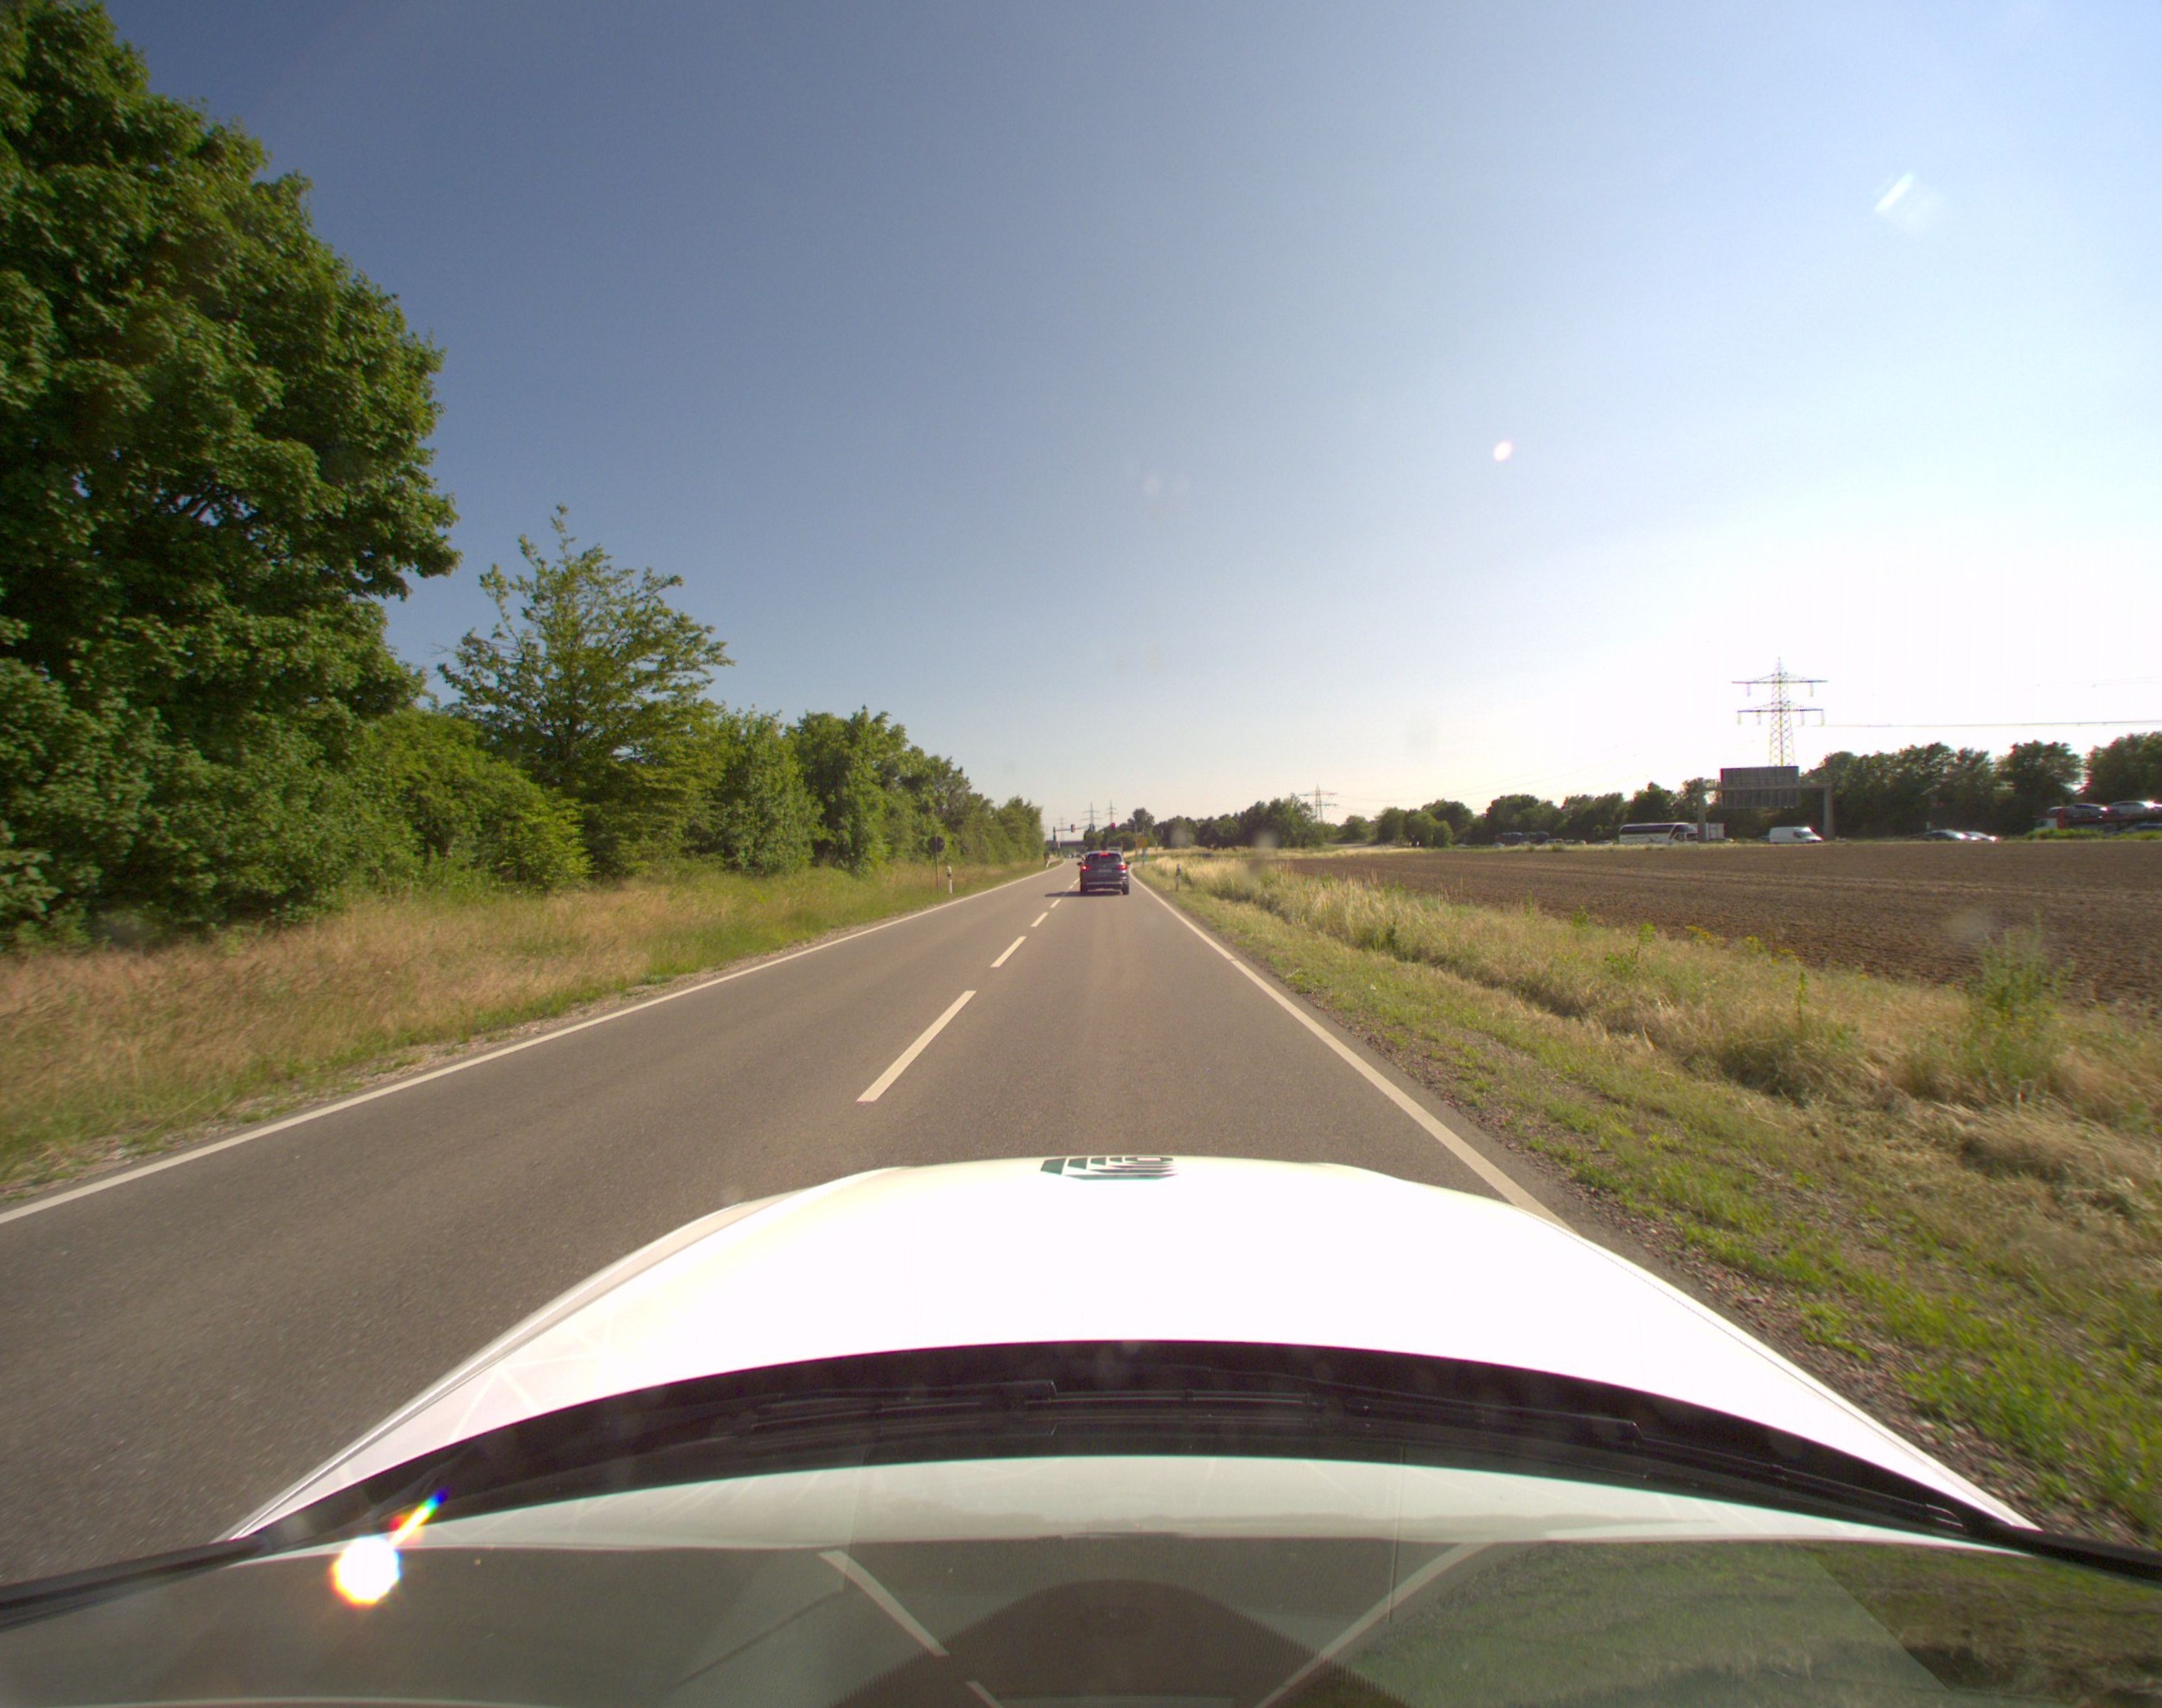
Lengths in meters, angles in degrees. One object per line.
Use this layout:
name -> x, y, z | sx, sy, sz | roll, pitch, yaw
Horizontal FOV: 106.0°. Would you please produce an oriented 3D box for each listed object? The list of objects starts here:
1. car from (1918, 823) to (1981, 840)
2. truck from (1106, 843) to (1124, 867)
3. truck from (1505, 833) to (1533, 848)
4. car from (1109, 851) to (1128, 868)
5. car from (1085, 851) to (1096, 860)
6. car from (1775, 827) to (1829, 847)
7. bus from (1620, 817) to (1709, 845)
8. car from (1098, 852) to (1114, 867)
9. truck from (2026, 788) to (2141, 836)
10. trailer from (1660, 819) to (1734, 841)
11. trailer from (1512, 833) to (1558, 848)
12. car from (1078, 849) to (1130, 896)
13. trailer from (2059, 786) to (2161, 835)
car -> 83.783, -2.151, 78.664 | 1.696, 1.473, 4.212 | 0, 0, 2
truck -> 4.494, 0.178, 107.488 | 2.328, 3.066, 5.813 | -1, -1, 3
truck -> 104.531, -3.218, 194.539 | 3.273, 3.267, 6.429 | -2, 0, 0
car -> 3.560, 0.524, 77.994 | 1.779, 1.543, 4.001 | -1, 0, 1
car -> 1.828, 0.237, 154.096 | 1.811, 1.540, 3.997 | -2, 0, -2
car -> 88.556, -2.064, 100.127 | 1.986, 2.372, 5.523 | 0, 0, 2
bus -> 85.516, -3.284, 119.963 | 2.455, 3.803, 14.543 | -2, 1, -1
car -> 3.004, 0.671, 98.112 | 1.779, 1.675, 4.001 | -1, 0, 1
truck -> 103.183, -4.222, 84.017 | 3.410, 4.452, 6.705 | -2, 0, 0
trailer -> 104.694, -3.965, 138.755 | 3.273, 3.267, 12.456 | -2, 0, 1
trailer -> 104.440, -3.153, 187.662 | 3.273, 3.267, 13.454 | -2, 1, 1
car -> 0.856, 0.637, 30.686 | 1.779, 1.629, 4.001 | -1, 0, 1
trailer -> 103.206, -4.245, 75.654 | 3.410, 4.452, 17.560 | -2, 0, 0
